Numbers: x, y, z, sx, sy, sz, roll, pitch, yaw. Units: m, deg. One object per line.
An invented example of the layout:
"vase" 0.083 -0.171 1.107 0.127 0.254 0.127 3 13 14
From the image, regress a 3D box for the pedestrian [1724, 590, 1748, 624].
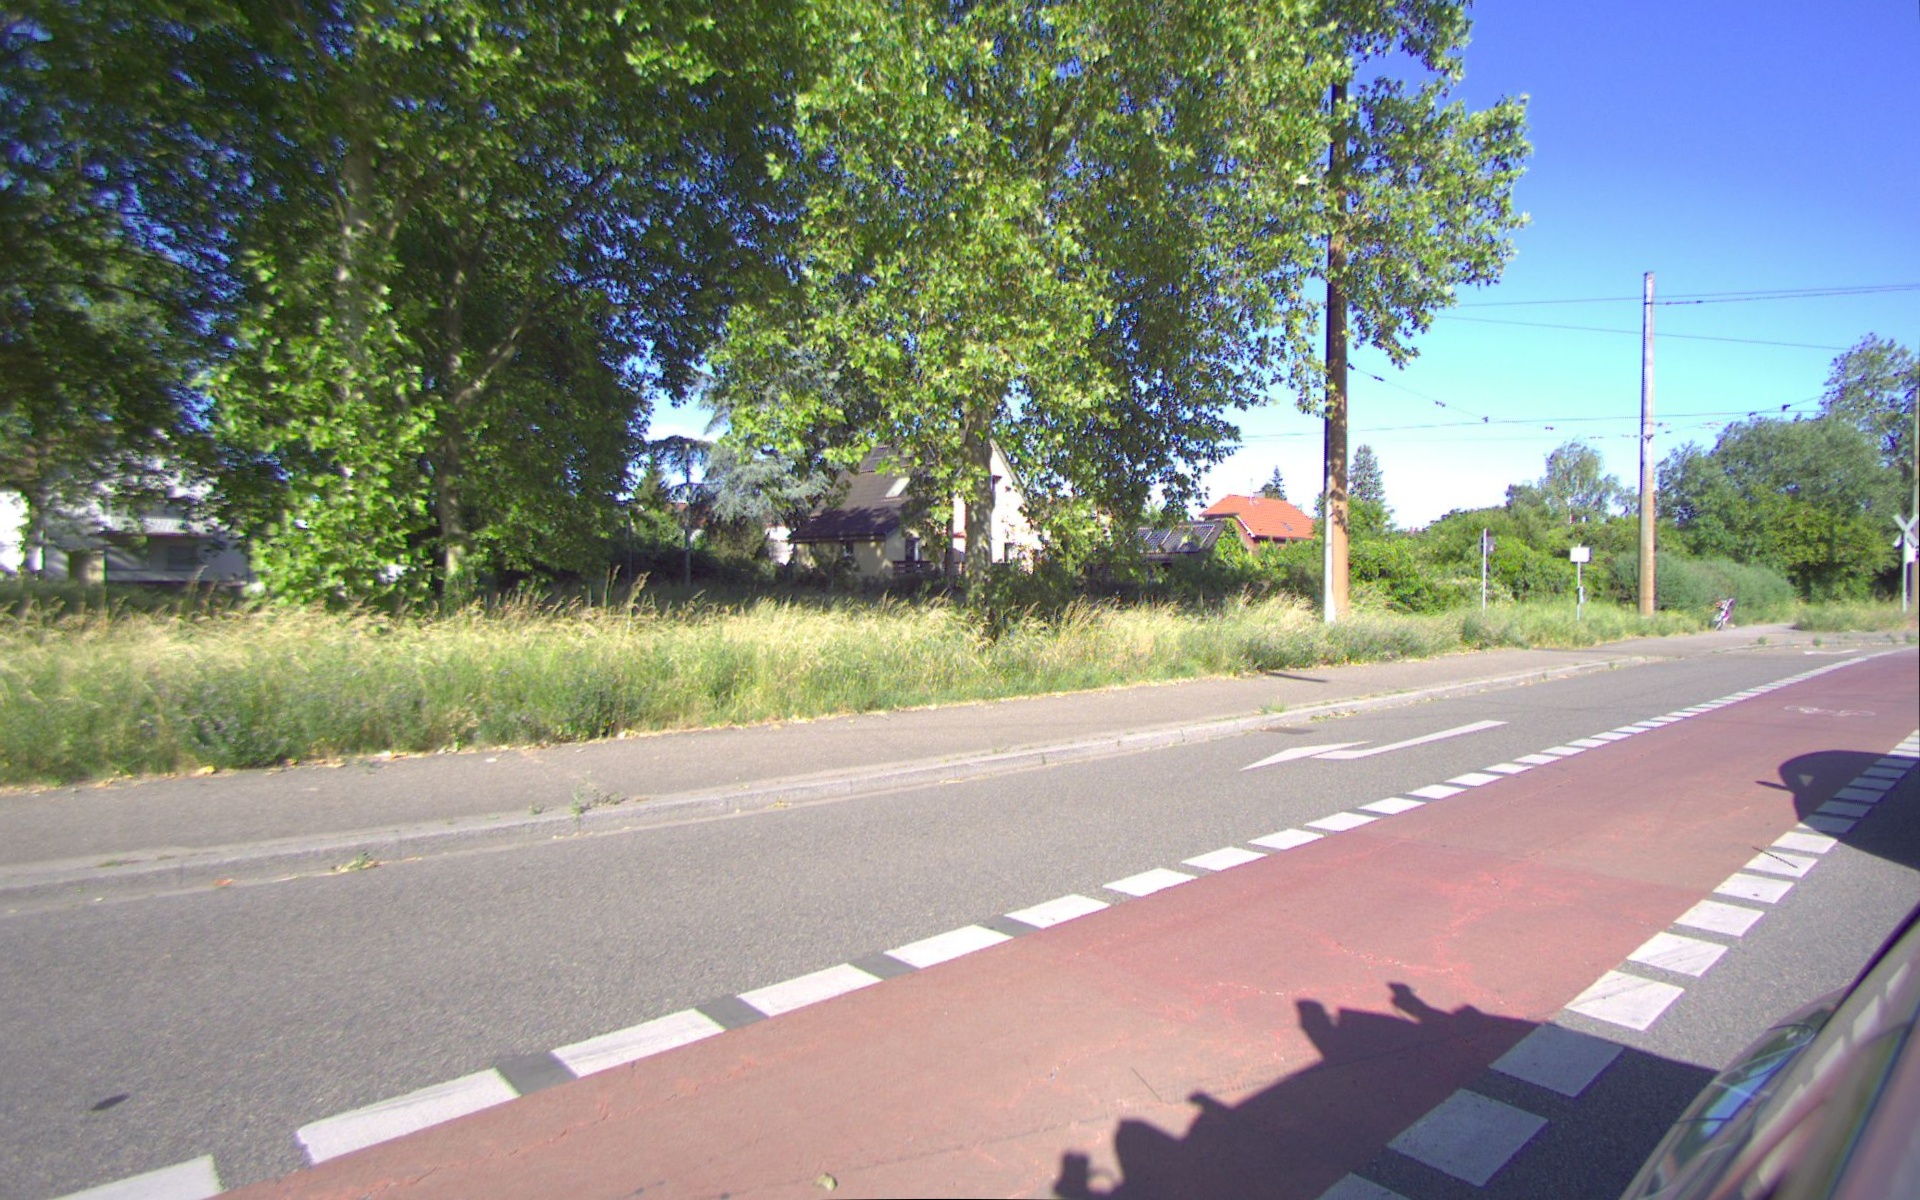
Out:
"pedestrian" 24.110 0.213 31.442 0.446 1.046 0.482 0 1 -41
